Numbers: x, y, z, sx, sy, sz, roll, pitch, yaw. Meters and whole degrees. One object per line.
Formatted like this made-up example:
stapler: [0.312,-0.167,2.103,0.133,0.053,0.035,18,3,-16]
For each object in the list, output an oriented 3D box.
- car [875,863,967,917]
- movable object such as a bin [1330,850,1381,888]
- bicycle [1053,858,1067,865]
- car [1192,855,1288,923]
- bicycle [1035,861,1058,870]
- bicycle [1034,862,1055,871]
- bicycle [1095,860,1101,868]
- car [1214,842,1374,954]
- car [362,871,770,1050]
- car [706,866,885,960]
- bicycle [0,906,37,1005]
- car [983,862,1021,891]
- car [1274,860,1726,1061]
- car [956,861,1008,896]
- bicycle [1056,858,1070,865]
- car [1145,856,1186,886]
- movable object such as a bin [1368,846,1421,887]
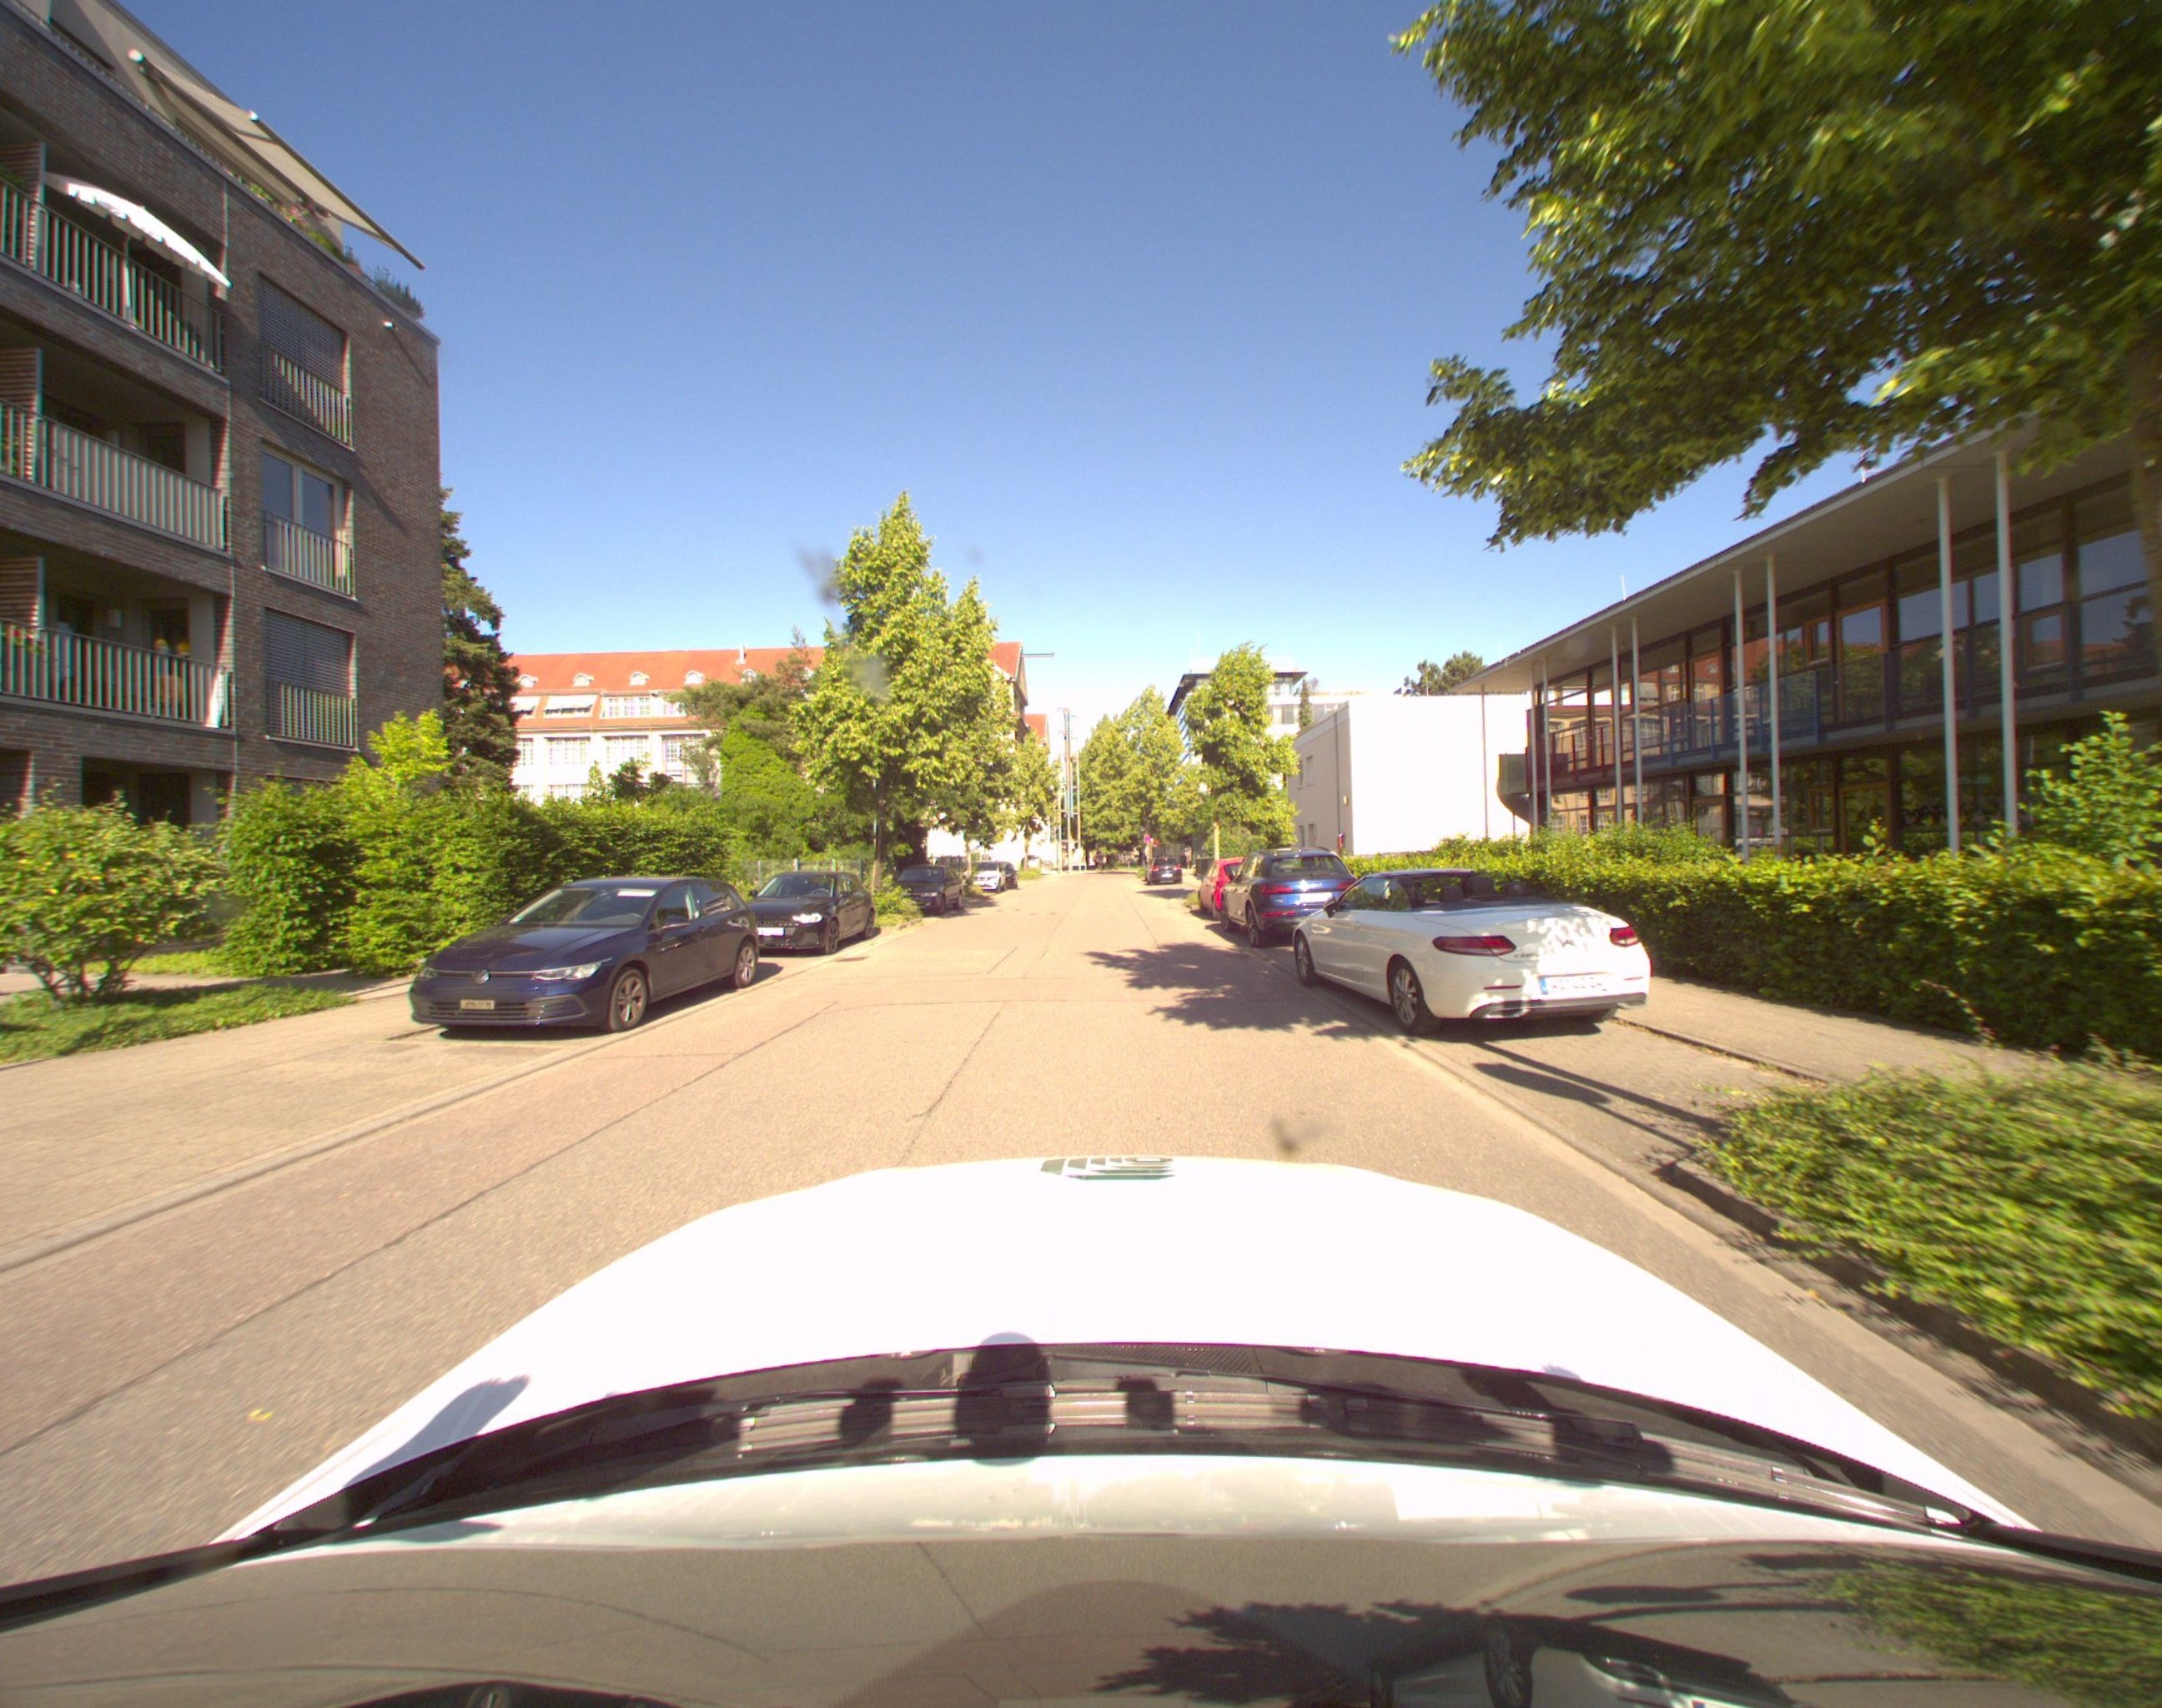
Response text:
car: [-4.757,1.025,24.815,1.834,1.474,4.361,1,0,1]
movable object such as a bin: [10.108,0.538,30.074,1.361,1.357,1.632,-2,0,2]
bicycle: [-3.163,1.124,122.141,2.049,1.066,0.507,-1,0,3]
car: [3.925,0.815,20.686,1.670,1.504,3.846,-2,0,0]
bicycle: [-4.344,1.390,102.581,2.794,1.063,0.718,-1,0,-4]
bicycle: [-4.910,1.629,109.339,2.794,1.151,0.718,-1,-1,-4]
bicycle: [2.437,1.429,115.928,0.618,1.197,2.129,-1,0,-3]
car: [3.742,0.719,15.138,1.893,1.682,4.413,-3,-1,2]
car: [-5.228,0.959,9.078,1.834,1.474,4.100,1,0,1]
car: [-5.133,0.985,15.258,1.834,1.474,4.028,1,0,1]
bicycle: [-12.329,1.133,8.403,0.638,1.074,1.875,1,0,1]
car: [-4.206,1.167,43.745,1.712,1.474,3.545,1,0,-1]
car: [3.615,0.787,8.288,1.957,1.320,4.772,-4,0,-2]
car: [-4.527,1.096,37.874,1.834,1.474,4.003,1,0,1]
bicycle: [-2.775,1.108,122.803,2.049,1.066,0.507,-1,0,3]
car: [4.602,0.879,44.735,1.778,1.516,3.999,-2,0,0]
movable object such as a bin: [11.527,0.453,30.001,1.361,1.448,1.632,-2,0,2]
